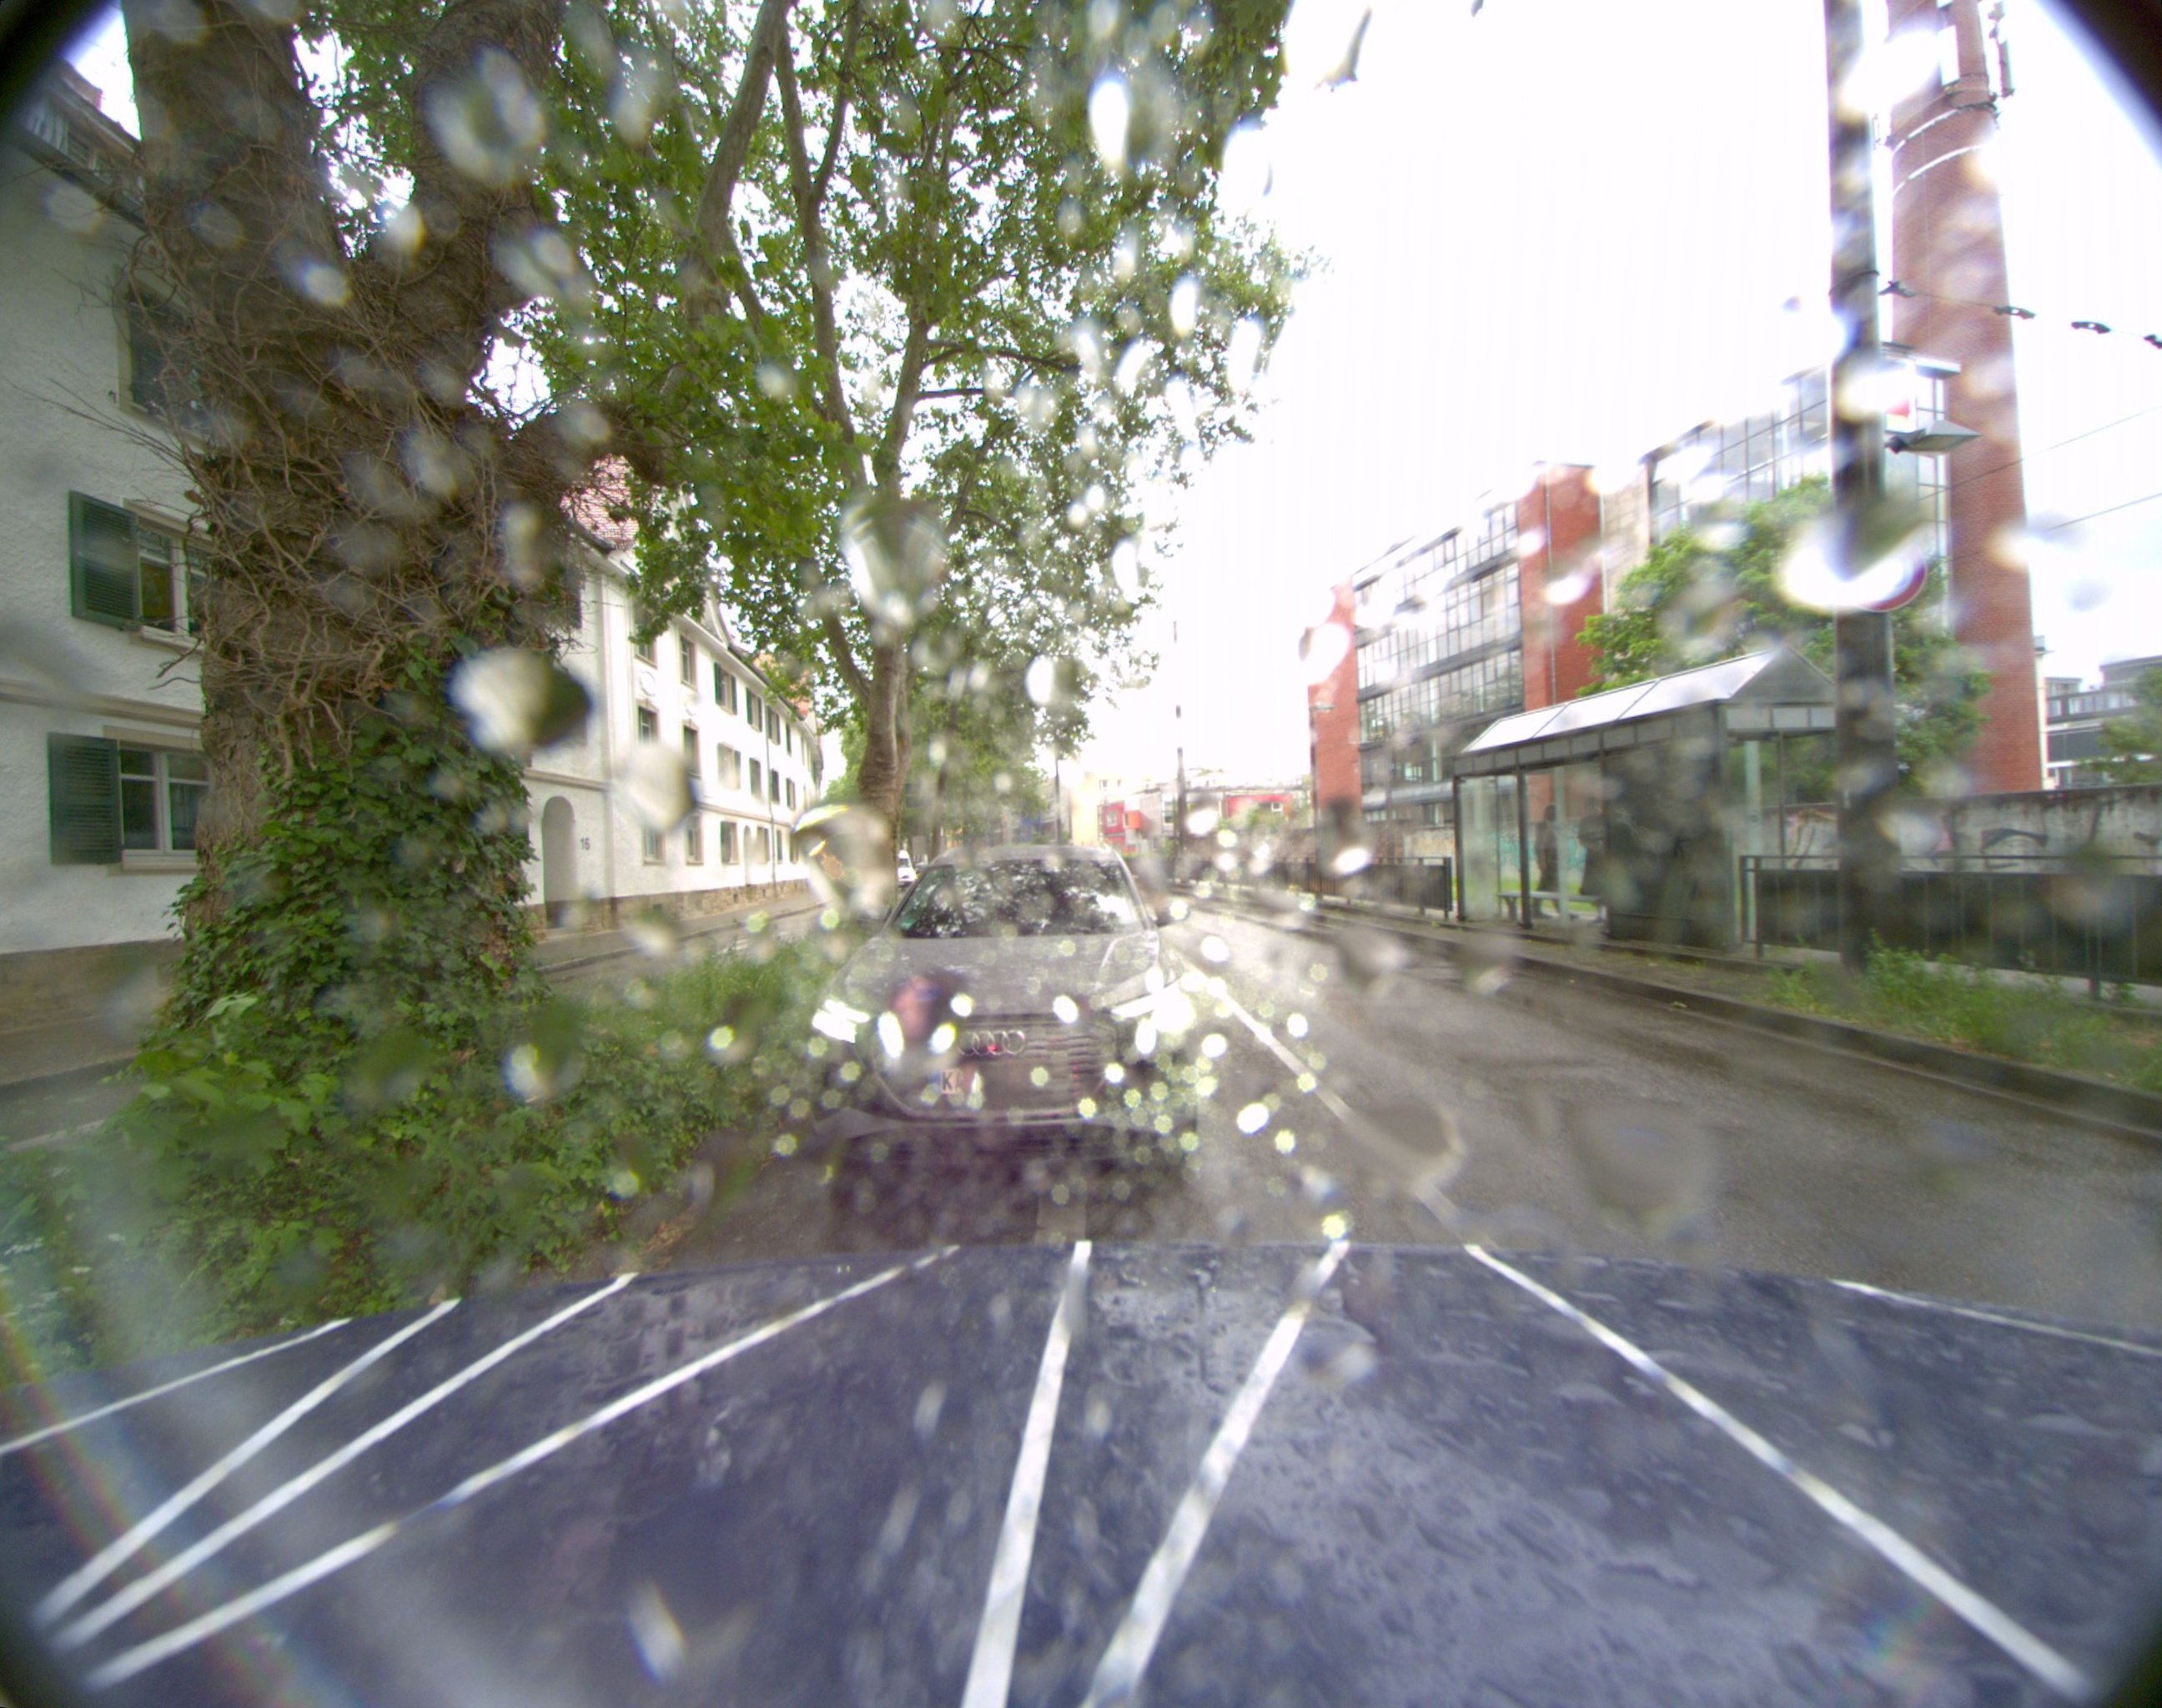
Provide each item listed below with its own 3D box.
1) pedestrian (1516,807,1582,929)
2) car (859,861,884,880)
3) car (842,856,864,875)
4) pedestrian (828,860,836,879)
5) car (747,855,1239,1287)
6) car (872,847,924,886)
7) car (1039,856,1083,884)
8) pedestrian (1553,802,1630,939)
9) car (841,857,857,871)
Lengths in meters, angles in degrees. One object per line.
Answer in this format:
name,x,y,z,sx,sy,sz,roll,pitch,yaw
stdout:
pedestrian,6.848,0.200,11.136,0.629,1.738,0.514,-2,1,9
car,-18.937,1.471,68.534,1.834,1.517,3.993,-3,1,-19
car,-24.644,1.236,82.078,2.002,2.001,3.993,3,-1,-20
pedestrian,-24.127,1.484,73.640,0.674,1.811,0.678,-3,1,-18
car,-0.408,0.872,5.122,1.917,1.632,4.106,-2,0,-2
car,-11.736,0.808,48.528,2.199,2.250,5.401,-3,0,-24
car,-1.207,0.854,43.262,1.720,1.451,3.743,-2,1,-13
pedestrian,6.738,0.217,10.046,0.629,1.738,0.564,-2,1,9
car,-34.965,1.503,114.288,2.002,2.001,3.993,3,-1,-20
